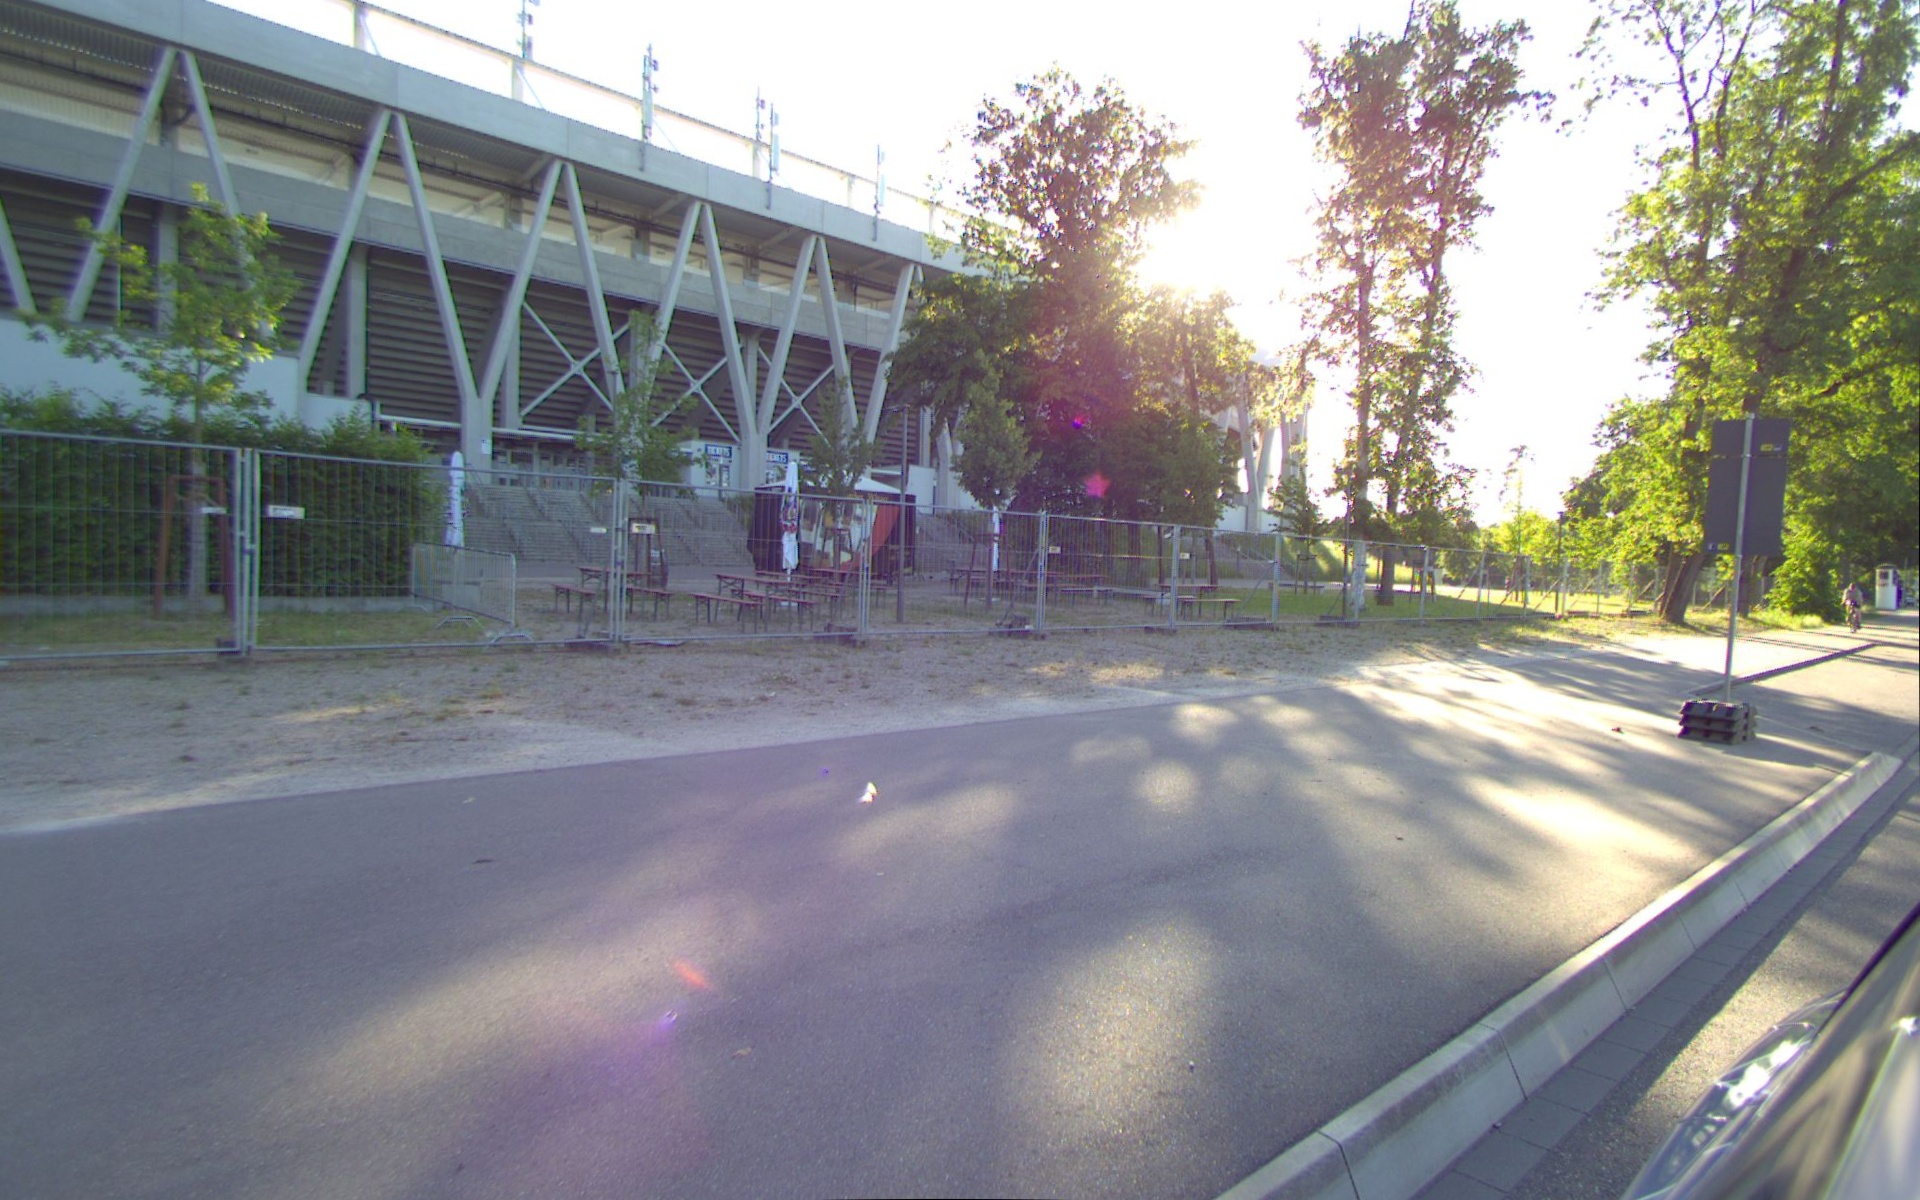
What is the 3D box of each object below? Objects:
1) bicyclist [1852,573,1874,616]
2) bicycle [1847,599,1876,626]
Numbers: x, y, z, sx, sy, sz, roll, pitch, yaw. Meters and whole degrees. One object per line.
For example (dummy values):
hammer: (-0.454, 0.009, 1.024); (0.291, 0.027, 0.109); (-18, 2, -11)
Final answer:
bicyclist: (30.782, -0.184, 34.484); (0.565, 1.438, 0.451); (0, 2, -41)
bicycle: (30.652, 0.420, 34.402); (1.876, 0.869, 0.481); (0, 2, -41)
